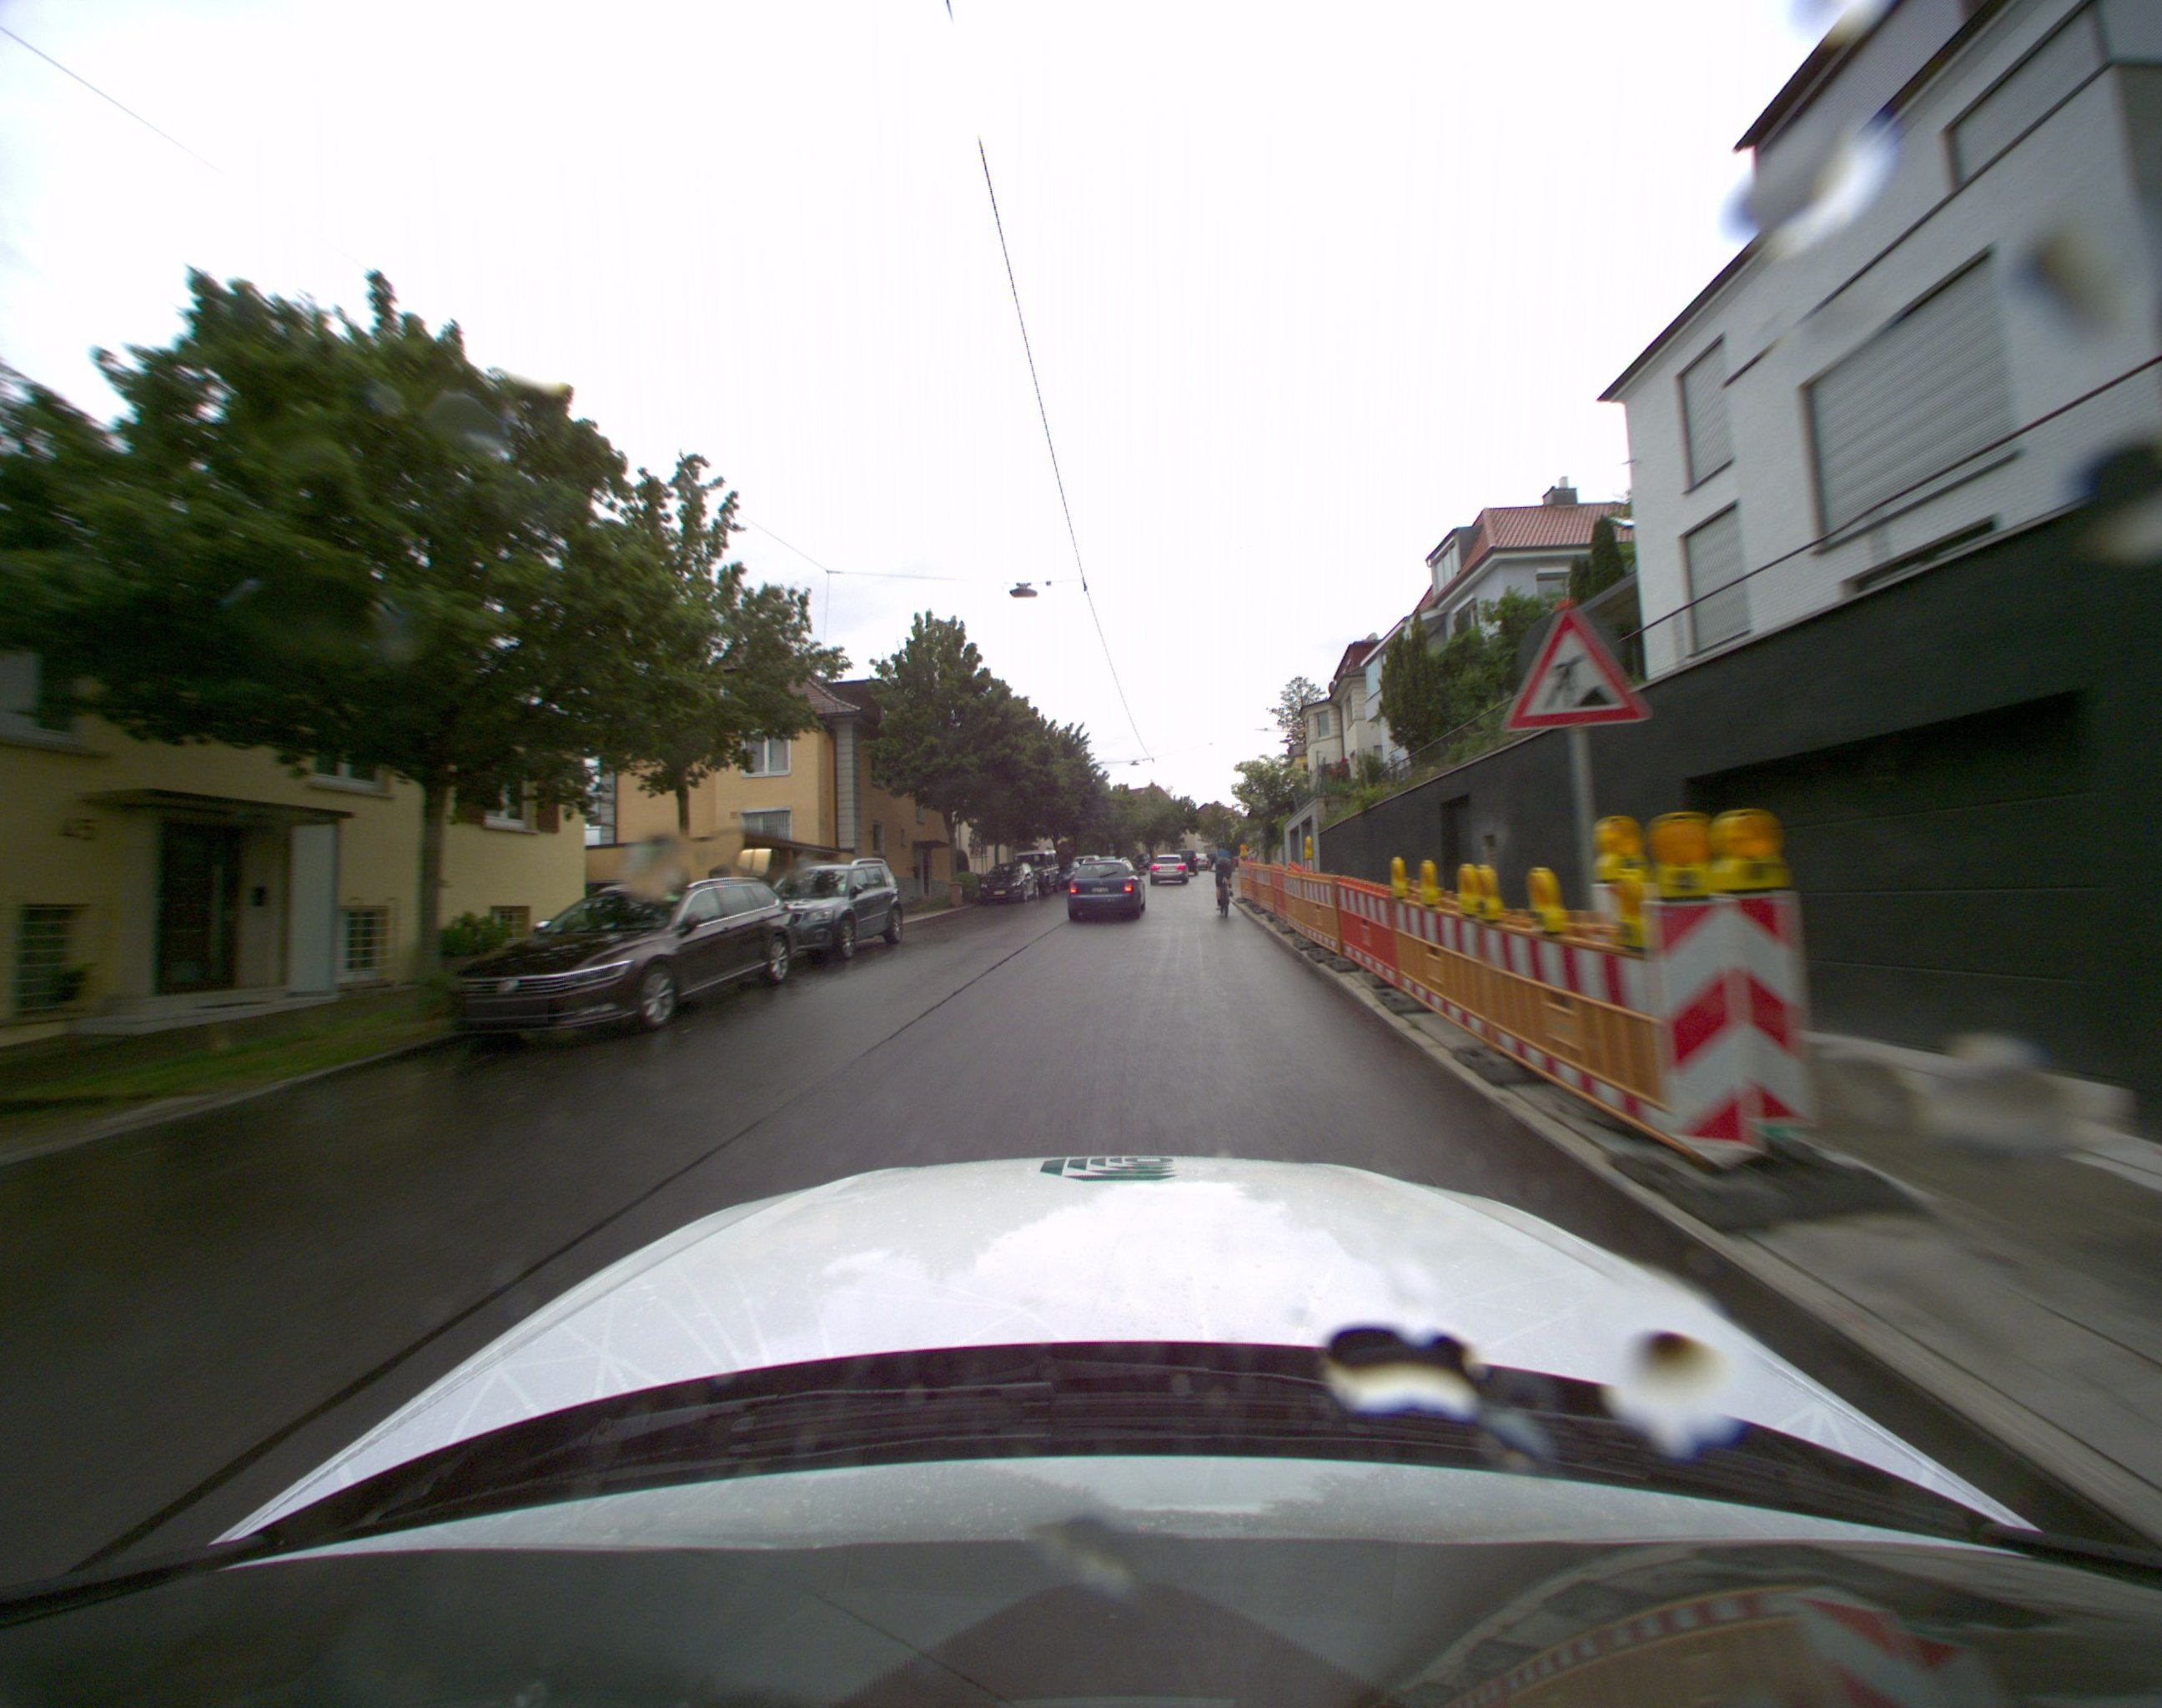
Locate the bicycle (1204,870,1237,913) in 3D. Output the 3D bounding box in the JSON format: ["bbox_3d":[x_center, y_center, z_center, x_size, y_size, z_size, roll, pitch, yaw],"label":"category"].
[{"bbox_3d":[3.427,0.902,20.057,0.726,0.965,1.674,-1,0,7],"label":"bicycle"}]

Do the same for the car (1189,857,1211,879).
[{"bbox_3d":[10.520,1.234,72.017,1.722,1.768,4.248,0,2,10],"label":"car"}]

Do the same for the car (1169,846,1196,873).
[{"bbox_3d":[7.210,0.354,57.641,1.723,1.768,4.247,0,2,10],"label":"car"}]

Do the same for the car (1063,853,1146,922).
[{"bbox_3d":[0.697,0.772,20.761,1.724,1.466,4.009,0,2,7],"label":"car"}]

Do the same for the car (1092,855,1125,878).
[{"bbox_3d":[2.067,0.914,60.311,1.757,1.539,4.019,-4,-1,10],"label":"car"}]

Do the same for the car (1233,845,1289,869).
[{"bbox_3d":[13.570,0.208,61.241,3.958,1.466,1.746,-4,0,14],"label":"car"}]

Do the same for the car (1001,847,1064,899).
[{"bbox_3d":[-2.087,0.777,36.747,1.782,2.049,4.792,-5,0,7],"label":"car"}]

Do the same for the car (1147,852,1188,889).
[{"bbox_3d":[4.343,0.791,40.558,1.965,1.635,4.244,0,2,7],"label":"car"}]

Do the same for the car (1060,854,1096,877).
[{"bbox_3d":[-0.280,1.149,81.942,3.189,1.740,1.484,-8,0,11],"label":"car"}]

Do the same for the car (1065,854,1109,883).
[{"bbox_3d":[0.418,0.856,49.795,1.756,1.627,4.705,-4,-1,11],"label":"car"}]

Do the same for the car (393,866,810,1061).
[{"bbox_3d":[-4.962,0.994,9.404,1.760,1.535,4.610,-4,0,4],"label":"car"}]

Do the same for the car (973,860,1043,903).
[{"bbox_3d":[-2.709,1.000,31.404,1.759,1.436,4.355,-4,-1,6],"label":"car"}]

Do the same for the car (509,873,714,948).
[{"bbox_3d":[-11.615,1.377,20.299,4.032,1.646,1.867,-2,-1,6],"label":"car"}]

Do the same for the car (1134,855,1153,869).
[{"bbox_3d":[6.108,0.783,79.463,1.465,1.295,3.232,0,2,13],"label":"car"}]

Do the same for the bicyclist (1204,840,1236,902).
[{"bbox_3d":[3.414,0.417,20.036,0.721,1.472,0.888,-1,0,7],"label":"bicyclist"}]

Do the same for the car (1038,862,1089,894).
[{"bbox_3d":[-0.878,1.228,43.545,1.757,1.387,4.647,-4,0,10],"label":"car"}]

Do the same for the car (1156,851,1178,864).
[{"bbox_3d":[10.403,0.391,98.357,1.719,1.466,4.020,0,2,19],"label":"car"}]

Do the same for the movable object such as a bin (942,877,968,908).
[{"bbox_3d":[-4.508,1.379,29.221,0.680,1.011,0.708,-6,0,1],"label":"movable object such as a bin"}]

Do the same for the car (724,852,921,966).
[{"bbox_3d":[-4.505,0.871,14.936,1.759,1.634,4.117,-5,0,7],"label":"car"}]
